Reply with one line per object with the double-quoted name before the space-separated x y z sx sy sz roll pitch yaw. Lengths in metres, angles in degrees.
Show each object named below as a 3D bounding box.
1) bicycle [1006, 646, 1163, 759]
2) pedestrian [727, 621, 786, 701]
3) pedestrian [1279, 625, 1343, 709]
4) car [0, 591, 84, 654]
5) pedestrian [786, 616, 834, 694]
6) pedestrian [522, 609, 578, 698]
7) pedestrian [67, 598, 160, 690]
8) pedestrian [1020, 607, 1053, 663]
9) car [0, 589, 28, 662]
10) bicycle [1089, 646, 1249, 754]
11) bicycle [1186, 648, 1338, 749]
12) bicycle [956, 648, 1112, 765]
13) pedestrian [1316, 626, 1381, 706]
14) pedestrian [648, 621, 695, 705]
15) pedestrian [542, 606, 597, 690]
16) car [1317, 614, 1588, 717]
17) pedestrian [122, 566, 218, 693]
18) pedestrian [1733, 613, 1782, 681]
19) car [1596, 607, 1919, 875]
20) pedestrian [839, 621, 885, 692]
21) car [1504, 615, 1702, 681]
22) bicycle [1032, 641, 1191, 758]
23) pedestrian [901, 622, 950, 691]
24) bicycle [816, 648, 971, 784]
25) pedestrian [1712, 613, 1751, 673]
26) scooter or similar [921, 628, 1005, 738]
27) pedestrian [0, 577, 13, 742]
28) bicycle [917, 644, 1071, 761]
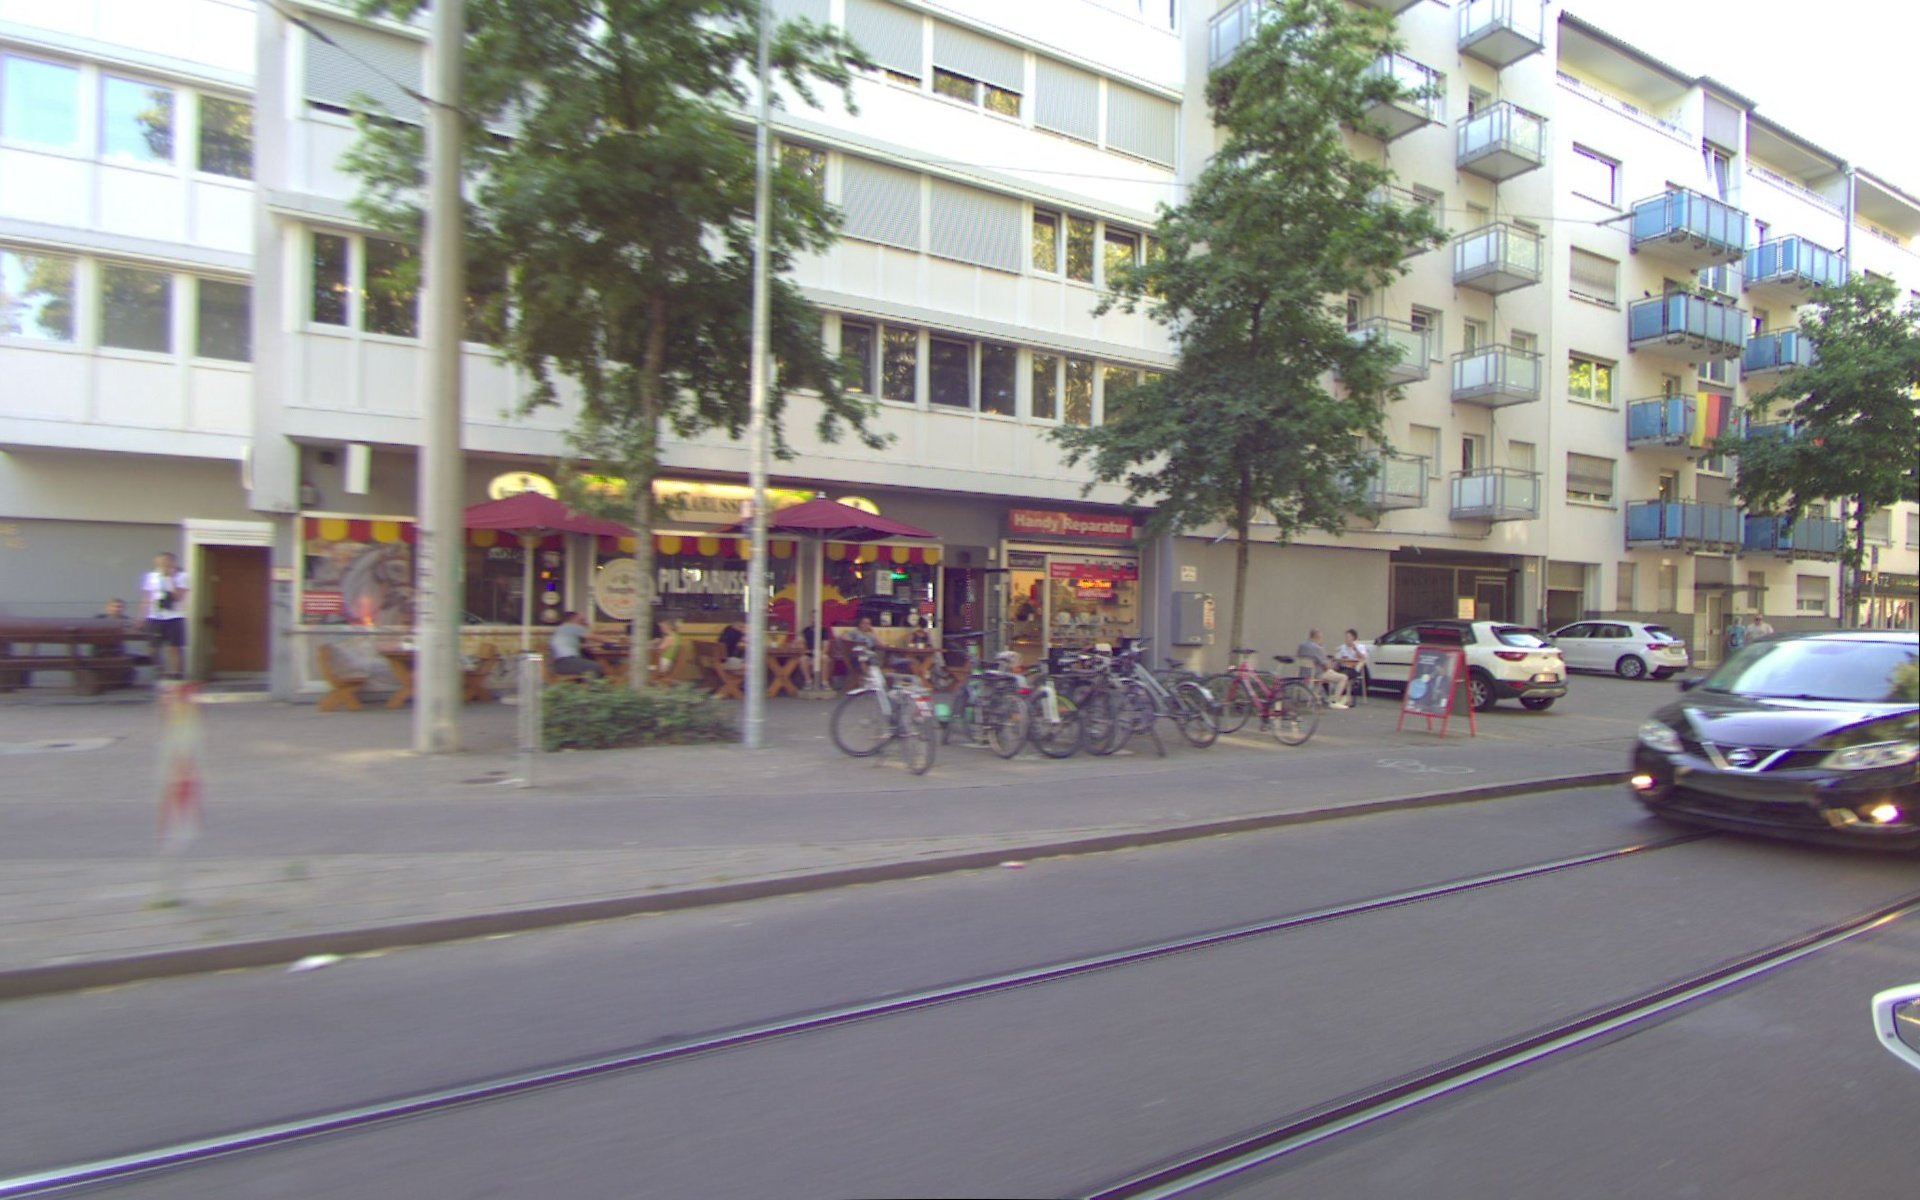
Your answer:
"bicycle" 1.301 1.059 10.862 0.651 1.020 1.818 2 0 -33
"pedestrian" -3.183 0.934 15.720 0.591 1.214 0.691 0 -1 26
"pedestrian" 5.686 1.069 16.276 0.742 1.314 0.705 1 -1 -43
"car" -24.122 0.535 25.591 1.868 1.498 3.970 1 -1 -29
"pedestrian" -2.398 0.861 16.070 0.504 1.214 0.562 0 -1 32
"pedestrian" -5.779 0.737 14.154 0.506 1.214 0.560 0 -1 45
"pedestrian" -12.001 0.614 14.244 0.736 1.258 0.768 0 -1 27
"pedestrian" 1.690 0.767 22.175 0.556 1.214 0.510 1 -1 -24
"car" -21.706 0.546 21.306 1.868 1.602 3.970 1 -1 -29
"bicycle" 2.317 1.079 11.349 0.651 1.020 1.818 2 0 -33
"bicycle" 3.534 1.120 11.892 0.651 1.020 1.681 2 0 -33
"bicycle" 0.731 1.063 10.573 0.651 1.020 1.818 2 0 -33
"pedestrian" 6.621 1.102 17.123 0.905 1.314 0.705 1 -1 -43
"pedestrian" -4.272 0.922 14.865 0.556 1.214 0.509 1 -1 -27
"pedestrian" -5.813 0.709 14.946 0.553 1.214 0.513 0 -1 26
"car" 8.532 1.063 17.768 1.829 1.495 3.996 2 0 -28
"pedestrian" -10.830 0.404 13.798 0.756 1.681 0.747 1 -1 -14
"pedestrian" 20.436 1.197 25.738 0.785 1.713 0.760 1 0 -31
"car" 7.009 0.893 7.956 4.103 1.611 1.860 1 -1 -34
"pedestrian" -1.715 0.974 17.632 0.617 1.214 0.559 1 -1 -30
"car" 16.839 1.212 26.504 1.831 1.495 3.991 2 0 -31
"bicycle" 1.606 1.033 10.964 0.651 1.078 1.818 2 0 -33
"pedestrian" -0.634 1.015 18.303 0.647 1.214 0.669 1 -1 -30
"bicycle" -0.647 0.997 9.143 0.651 1.020 1.681 2 0 -33
"pedestrian" 22.556 1.242 29.368 0.740 1.713 0.660 1 0 -31
"scooter or similar" 0.015 0.958 11.877 0.492 1.192 1.074 2 0 -30
"pedestrian" -9.528 0.563 9.452 0.761 1.577 0.720 1 -1 -35
"bicycle" 0.311 1.011 10.436 0.651 1.020 1.818 2 0 -33
